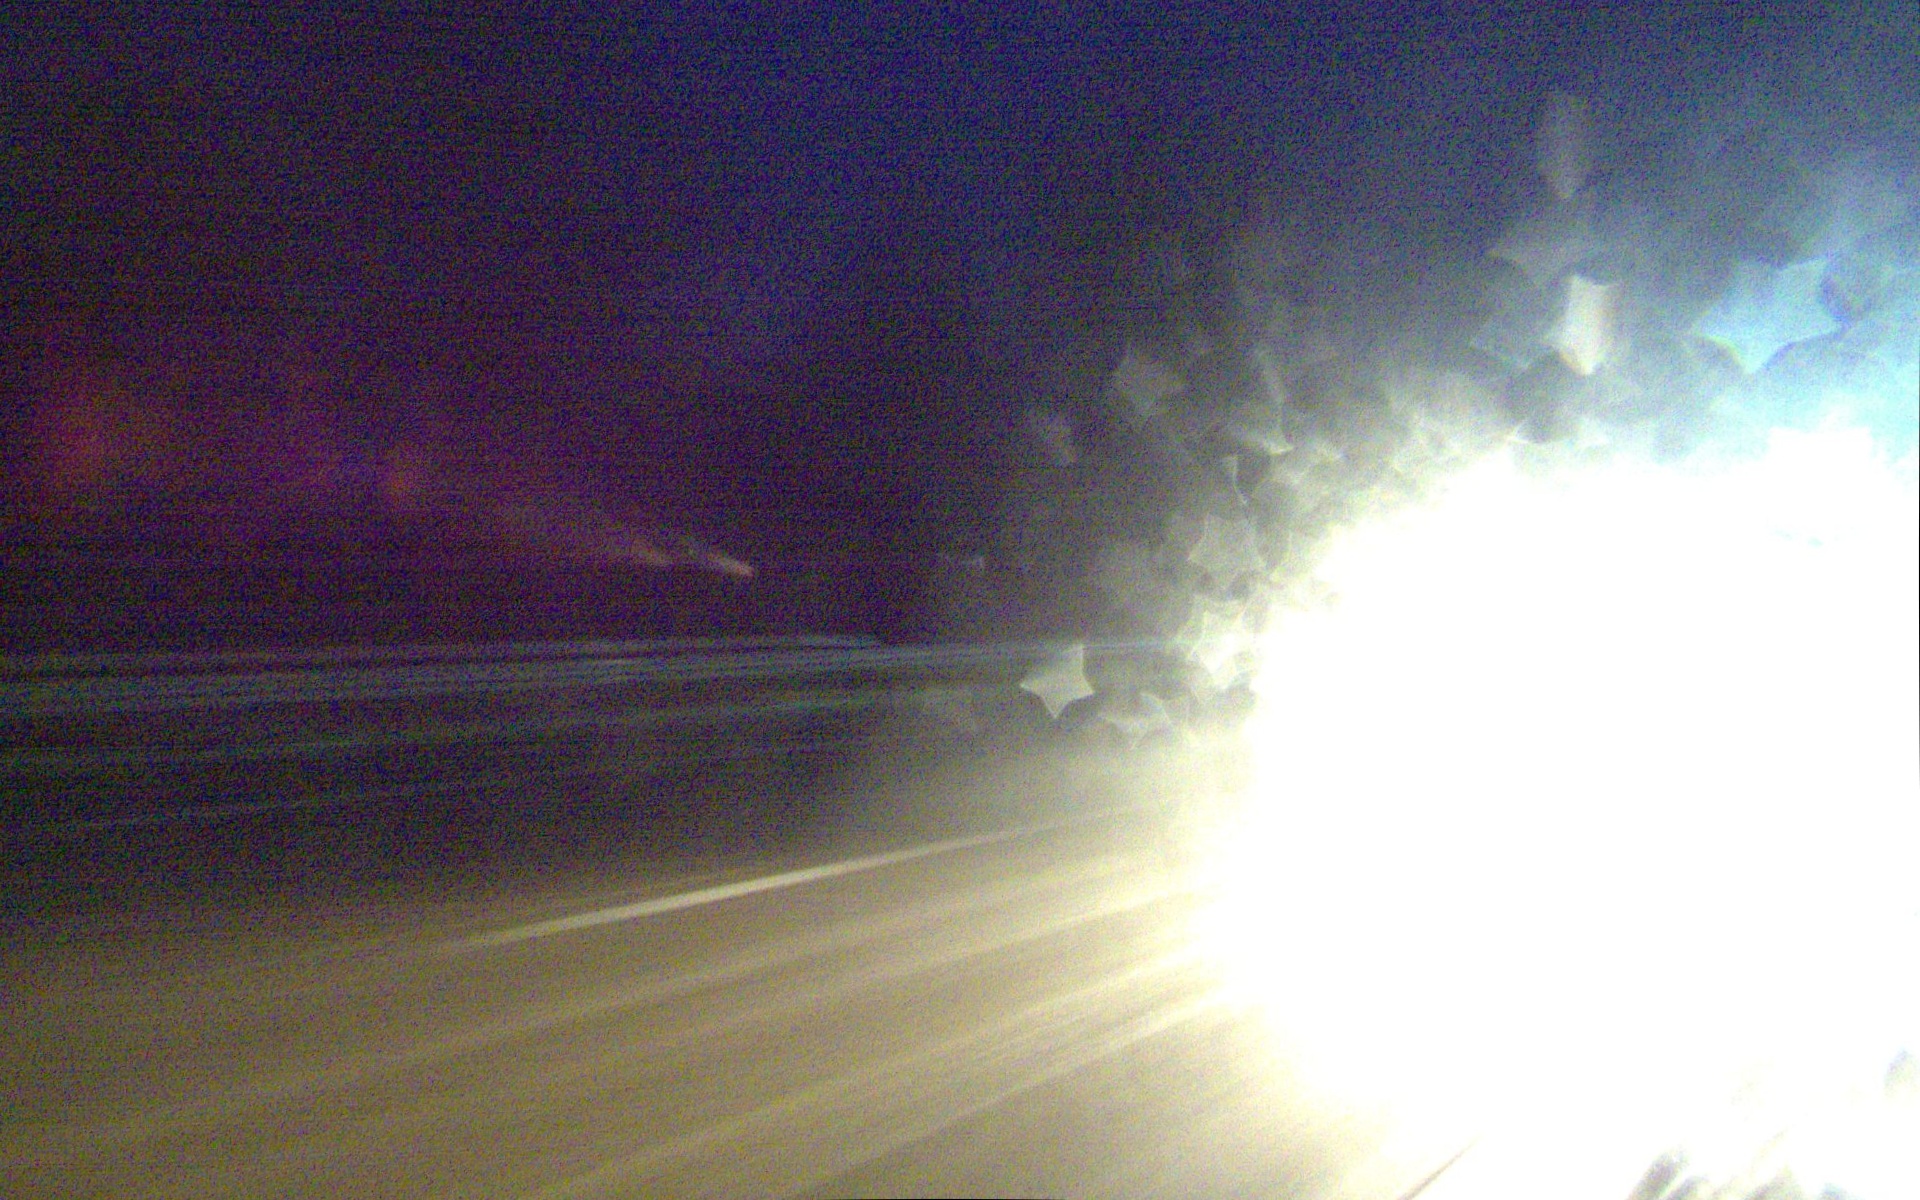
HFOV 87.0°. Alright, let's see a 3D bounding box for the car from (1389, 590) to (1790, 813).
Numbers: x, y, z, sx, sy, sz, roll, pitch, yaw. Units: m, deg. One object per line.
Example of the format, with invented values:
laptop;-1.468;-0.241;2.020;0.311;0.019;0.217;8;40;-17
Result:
car;5.556;0.665;8.722;4.121;1.476;1.773;0;0;-40
